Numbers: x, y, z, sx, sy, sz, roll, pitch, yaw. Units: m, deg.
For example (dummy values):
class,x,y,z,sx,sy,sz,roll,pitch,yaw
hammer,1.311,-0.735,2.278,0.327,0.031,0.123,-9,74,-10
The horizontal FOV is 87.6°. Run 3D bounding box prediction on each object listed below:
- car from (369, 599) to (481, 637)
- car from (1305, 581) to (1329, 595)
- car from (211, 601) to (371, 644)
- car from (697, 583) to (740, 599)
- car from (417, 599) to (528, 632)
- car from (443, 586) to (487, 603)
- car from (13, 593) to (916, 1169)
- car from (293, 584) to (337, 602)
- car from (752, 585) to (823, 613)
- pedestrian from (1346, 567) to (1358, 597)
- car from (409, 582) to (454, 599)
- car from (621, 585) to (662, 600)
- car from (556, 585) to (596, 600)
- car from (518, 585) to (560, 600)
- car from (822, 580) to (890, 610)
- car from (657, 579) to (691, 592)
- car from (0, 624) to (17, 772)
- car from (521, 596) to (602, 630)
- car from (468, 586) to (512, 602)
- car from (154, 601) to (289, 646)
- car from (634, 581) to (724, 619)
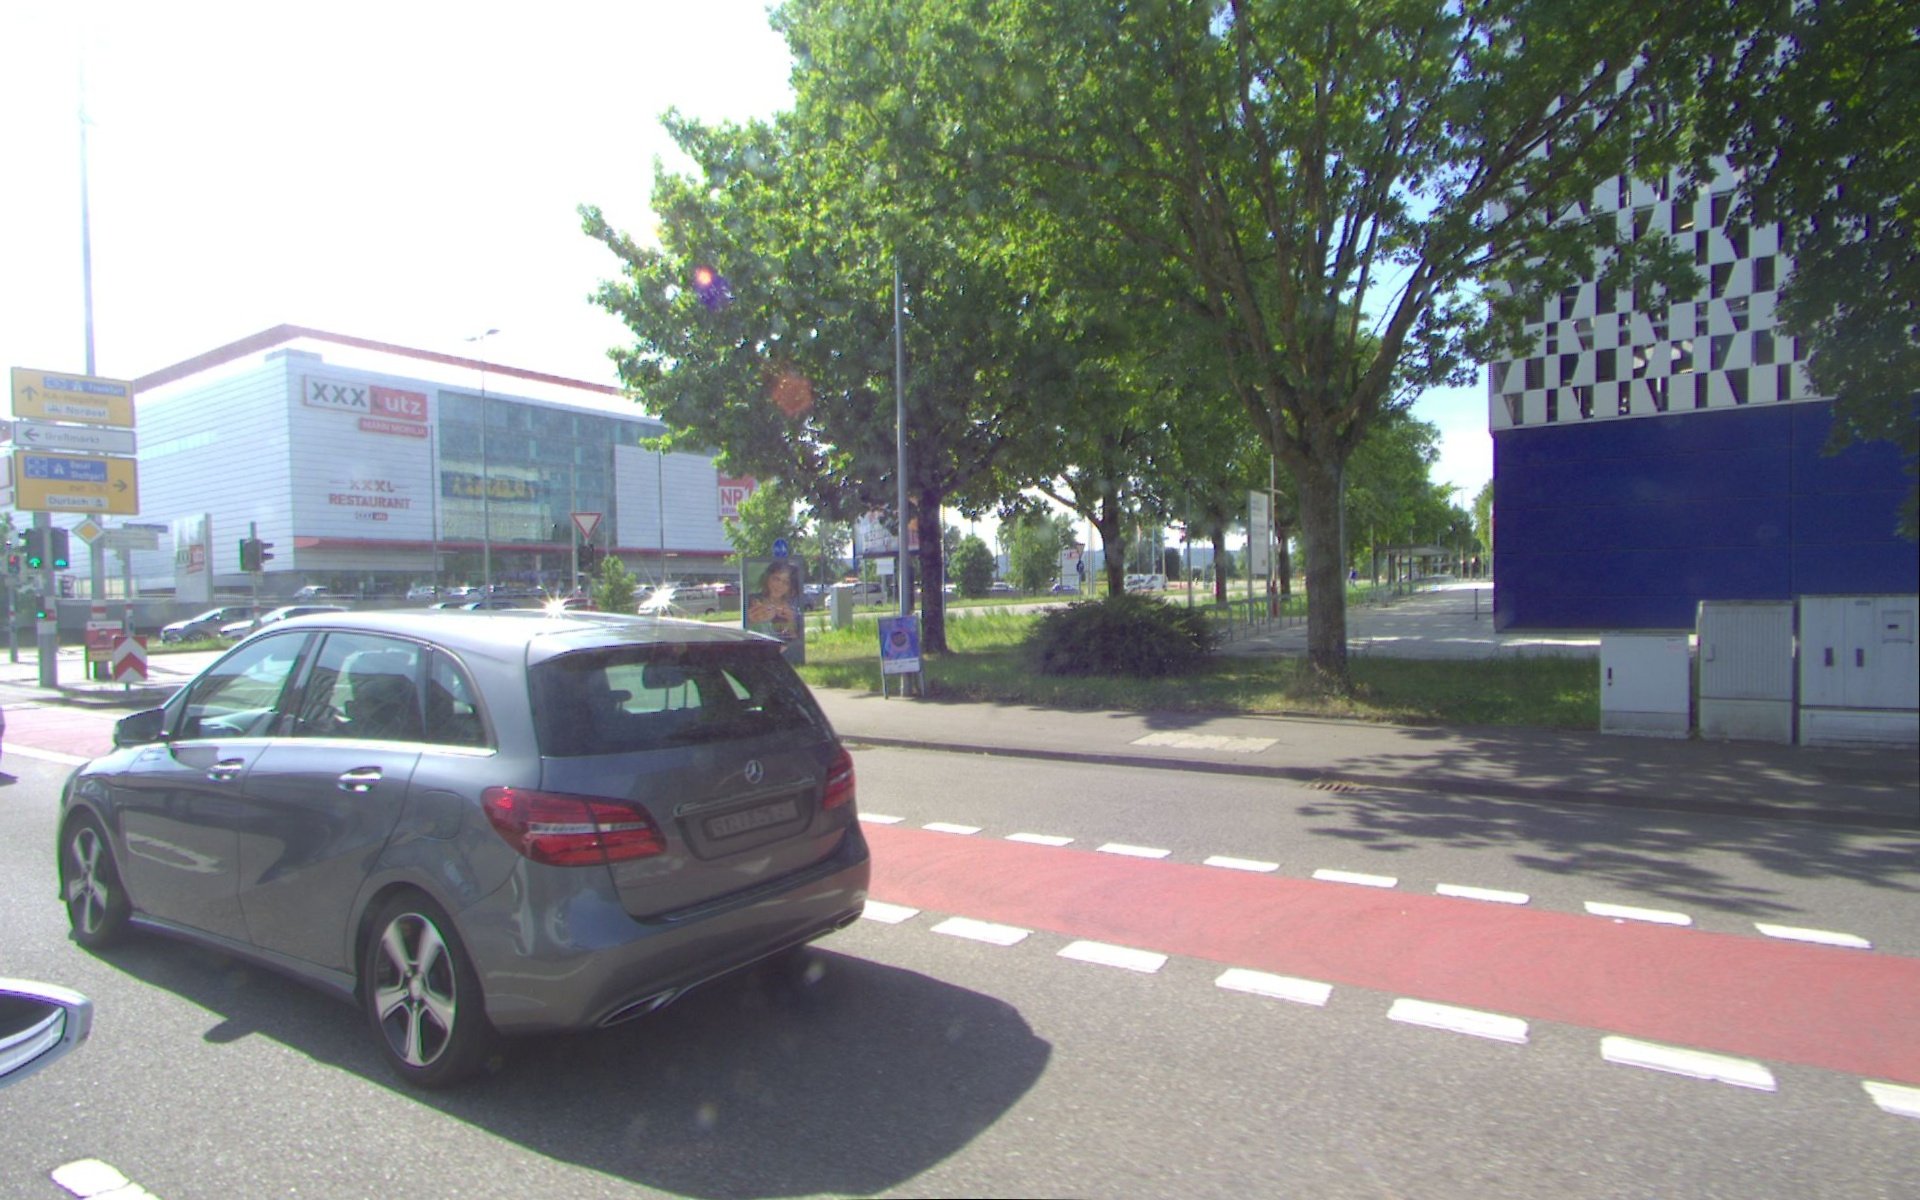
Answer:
class,x,y,z,sx,sy,sz,roll,pitch,yaw
car,-24.049,0.804,45.137,1.883,1.528,4.015,-2,1,35
car,39.871,-1.328,111.726,1.618,1.556,3.893,0,1,34
car,-25.532,0.834,38.365,1.933,1.444,4.701,-2,0,35
car,-23.674,-0.880,98.236,4.051,1.439,1.784,-1,1,33
car,-21.301,0.661,43.866,1.701,1.360,4.032,-2,0,34
car,-45.350,-0.514,91.763,4.143,1.439,1.826,-1,1,35
car,-2.375,0.771,4.527,4.077,1.559,1.771,0,0,31
car,-55.716,-0.621,86.495,4.143,1.439,1.765,-1,1,35
car,-10.167,-0.076,59.356,1.662,1.641,4.102,0,1,37
pedestrian,27.662,-1.280,70.669,0.670,2.039,0.600,-1,-2,18
car,-47.429,-0.818,89.848,3.950,1.439,1.795,-1,1,32
car,-30.842,-0.728,96.877,4.054,1.439,1.679,-1,1,35
car,-39.187,-0.737,102.208,4.143,1.439,1.799,-1,1,34
car,-41.367,-0.710,98.365,4.143,1.439,1.895,-1,1,35
car,-7.116,-0.362,68.956,1.890,1.961,4.757,-2,0,37
car,-34.146,-1.680,119.396,4.143,1.439,1.679,-1,1,35
car,-11.217,0.965,10.048,3.628,1.432,1.664,-1,-1,31
car,-20.035,0.623,50.422,1.578,1.597,3.458,0,1,36
car,-44.337,-0.605,94.440,4.143,1.439,1.866,-1,1,35
car,-28.686,0.884,39.003,1.785,1.579,3.871,-1,0,36
car,-15.794,-0.013,56.523,1.937,2.002,4.658,-2,0,35
